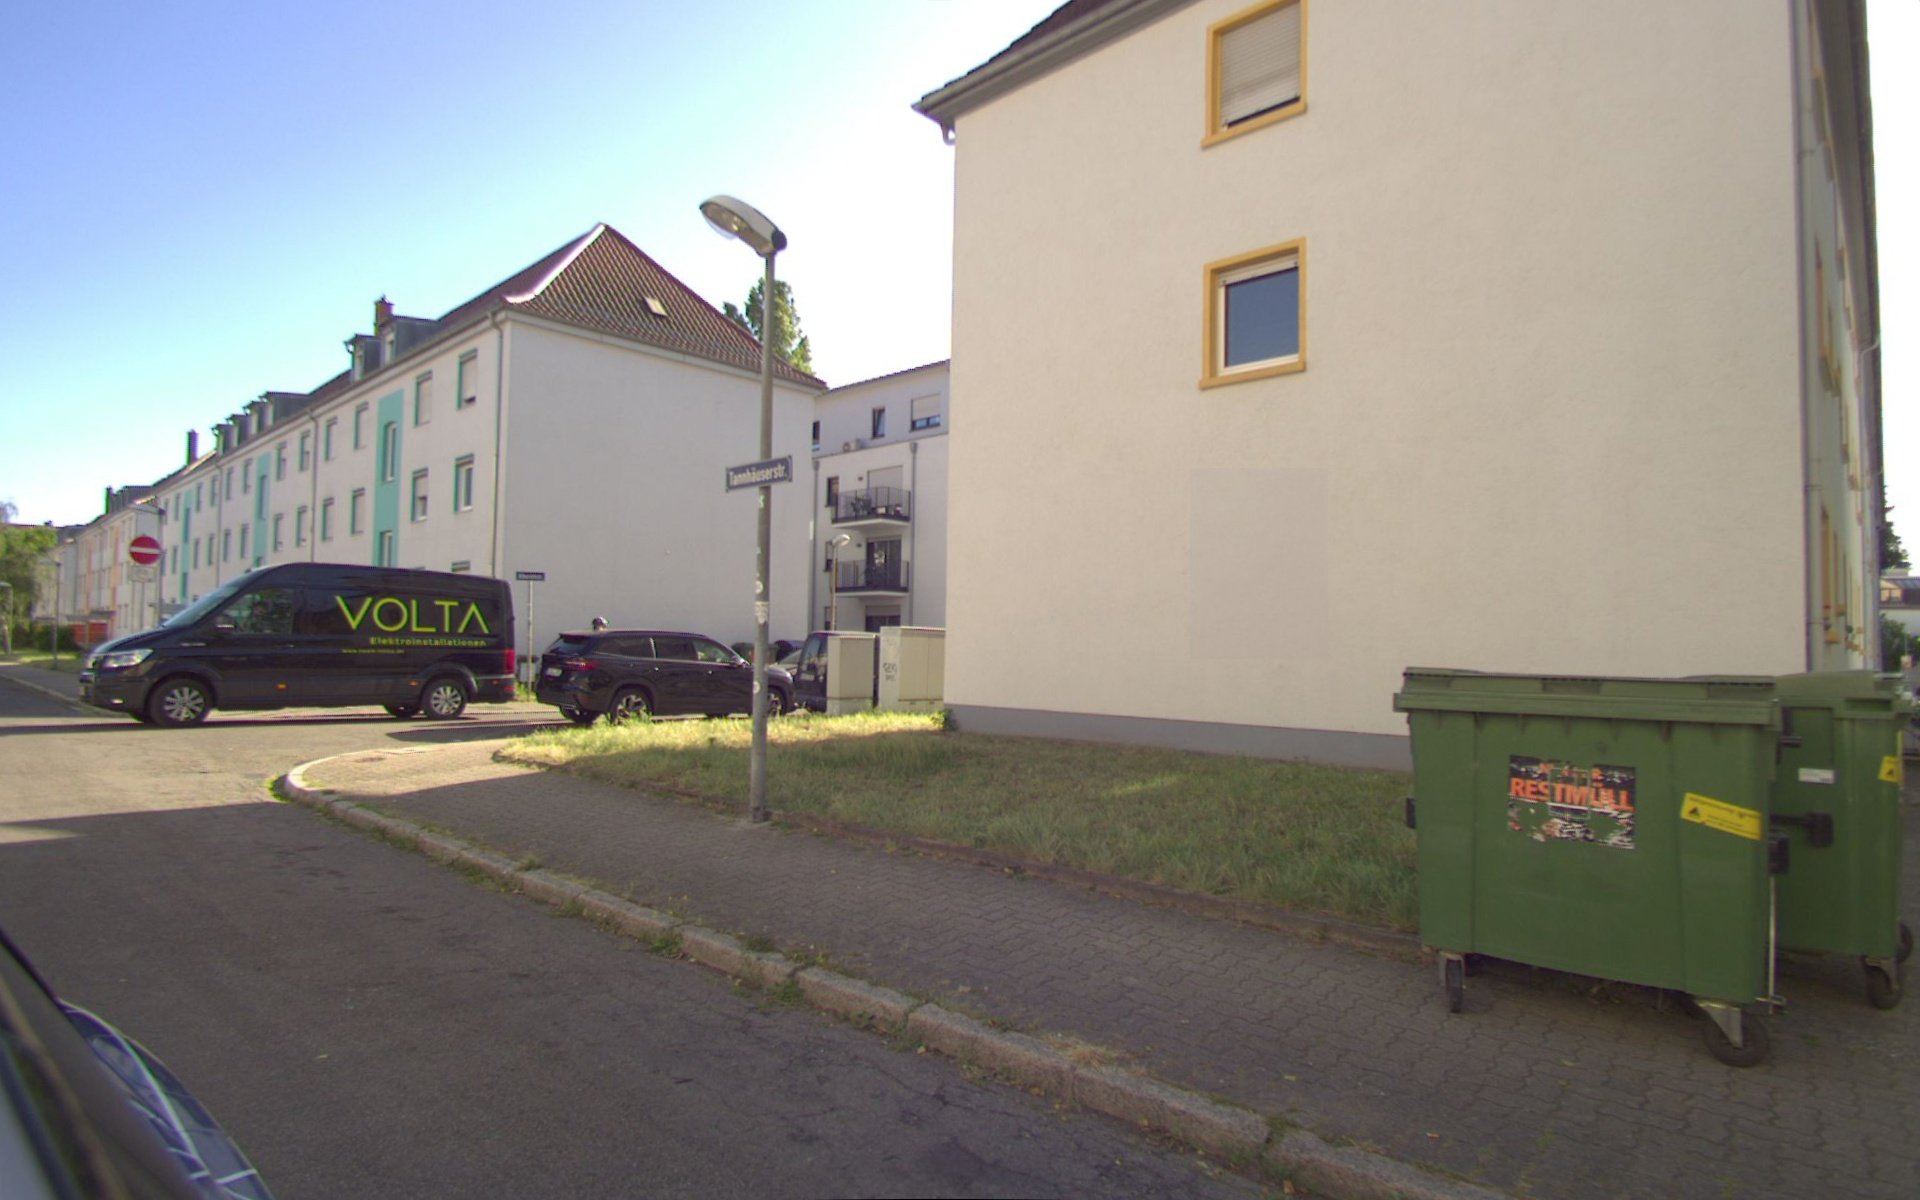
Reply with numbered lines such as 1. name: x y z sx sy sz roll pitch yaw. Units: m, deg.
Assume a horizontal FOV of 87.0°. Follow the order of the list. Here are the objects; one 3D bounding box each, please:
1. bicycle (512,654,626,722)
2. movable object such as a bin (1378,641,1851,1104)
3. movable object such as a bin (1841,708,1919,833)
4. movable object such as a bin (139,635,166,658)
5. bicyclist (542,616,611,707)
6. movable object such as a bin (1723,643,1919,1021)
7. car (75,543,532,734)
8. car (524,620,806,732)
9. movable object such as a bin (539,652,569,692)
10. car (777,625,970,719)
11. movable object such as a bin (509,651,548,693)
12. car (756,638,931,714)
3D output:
1. bicycle: -6.922 1.551 18.008 0.628 1.123 1.793 0 -4 37
2. movable object such as a bin: 2.461 0.874 3.893 1.417 1.403 0.767 -1 -4 41
3. movable object such as a bin: 7.654 1.391 8.379 0.546 0.939 0.483 3 -3 -44
4. movable object such as a bin: -50.330 2.885 63.098 0.877 1.404 1.151 -2 -5 43
5. bicyclist: -6.855 1.096 18.109 0.597 1.591 0.895 -1 -4 37
6. movable object such as a bin: 3.862 0.888 4.327 1.205 1.391 0.768 3 -3 -44
7. car: -10.343 0.654 16.481 2.000 2.564 5.876 -2 -3 42
8. car: -5.043 1.321 17.806 1.720 1.676 4.439 0 -3 43
9. movable object such as a bin: -10.021 1.771 24.978 0.532 0.956 0.492 -2 -5 43
10. car: -1.778 1.546 21.769 1.720 1.802 3.947 0 -3 43
11. movable object such as a bin: -10.387 1.719 24.347 0.714 0.999 0.606 -2 -4 42
12. car: -2.781 1.878 24.772 1.866 1.708 3.943 -2 -6 43
